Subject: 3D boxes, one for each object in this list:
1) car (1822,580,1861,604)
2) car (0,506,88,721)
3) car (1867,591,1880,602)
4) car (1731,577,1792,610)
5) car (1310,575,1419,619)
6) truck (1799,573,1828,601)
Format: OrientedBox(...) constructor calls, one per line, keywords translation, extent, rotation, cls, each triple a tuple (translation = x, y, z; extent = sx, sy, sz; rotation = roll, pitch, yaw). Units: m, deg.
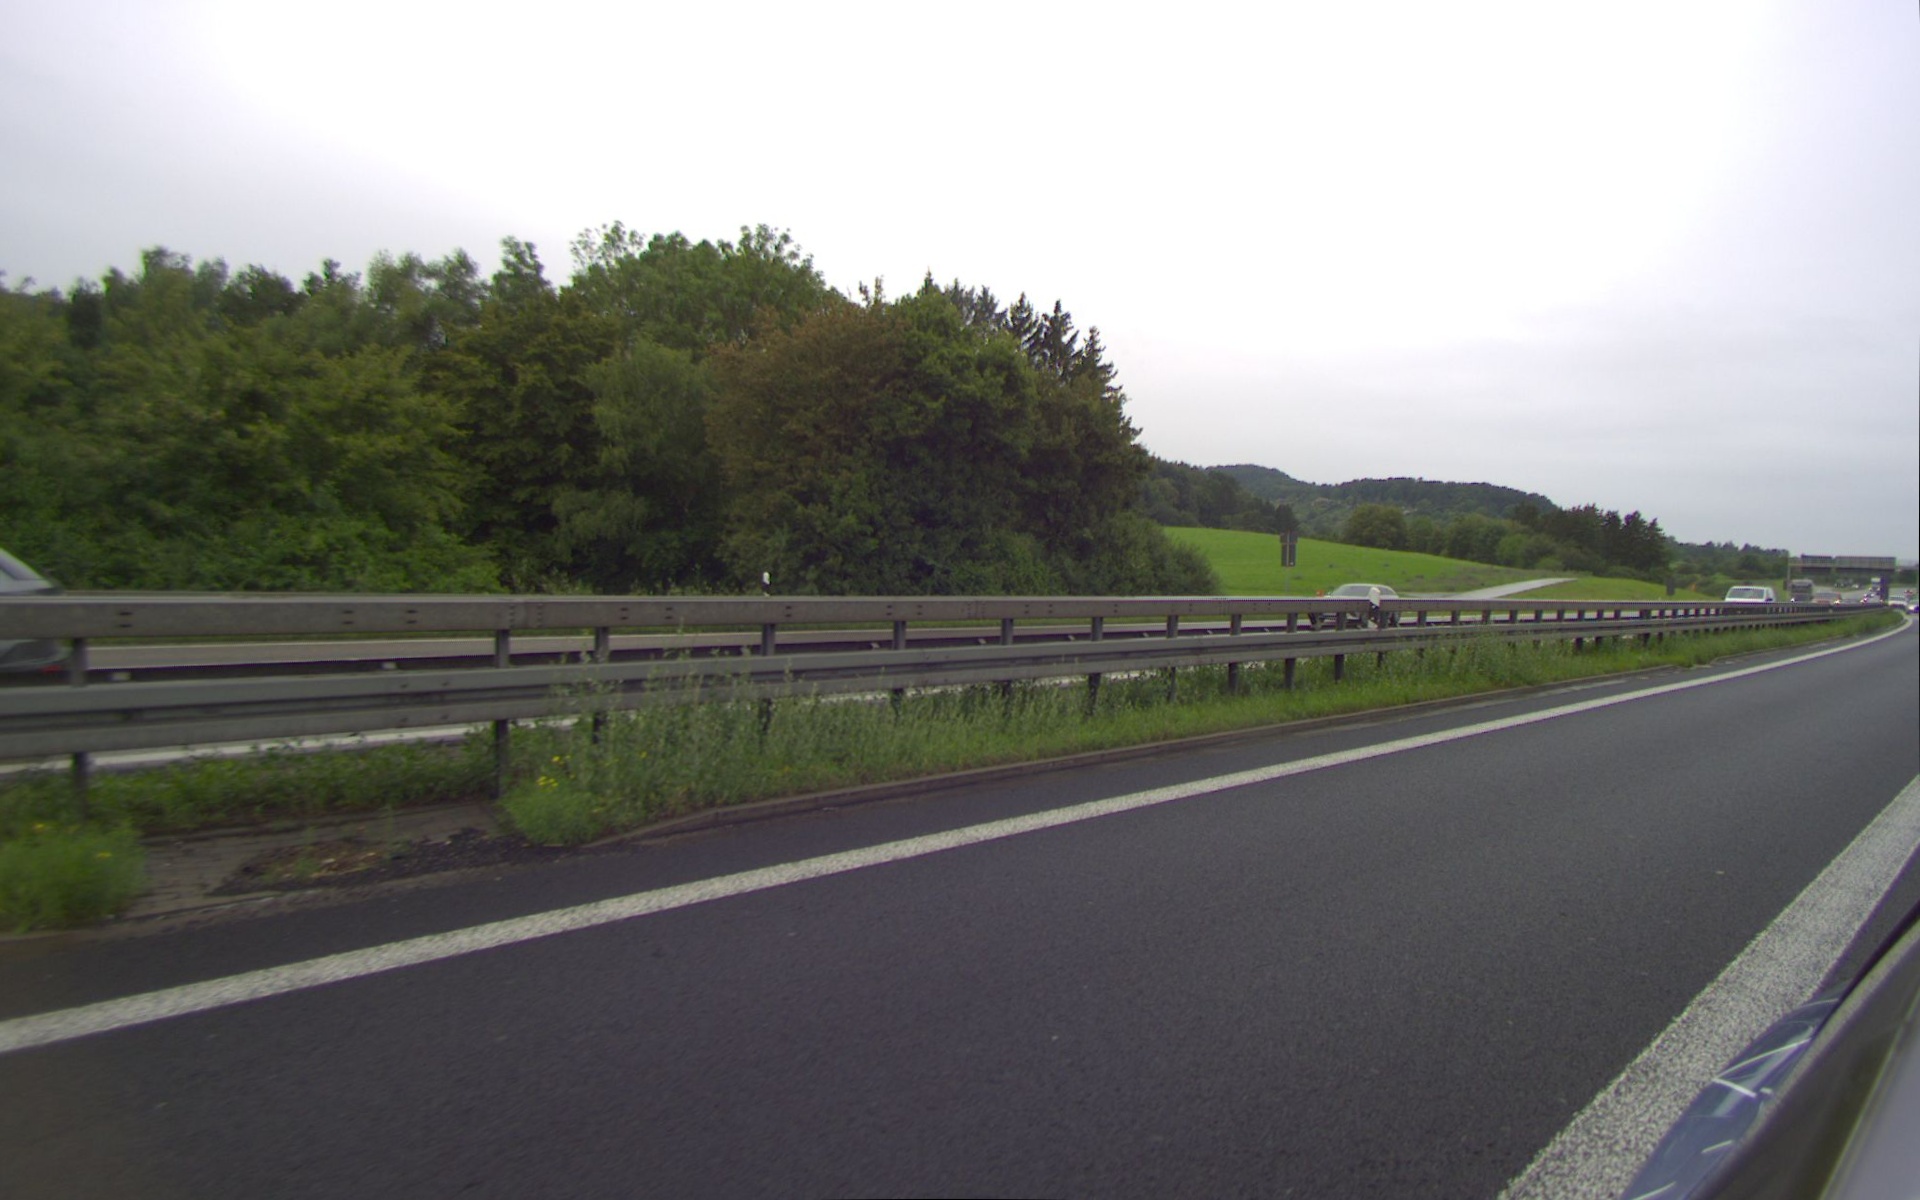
OrientedBox(translation=(77.089, -0.744, 88.491), extent=(4.993, 2.039, 2.126), rotation=(-1, 1, -44), cls="car")
OrientedBox(translation=(-7.959, 0.051, 6.126), extent=(4.055, 1.399, 1.670), rotation=(0, 3, -42), cls="car")
OrientedBox(translation=(171.890, -0.746, 190.389), extent=(1.747, 2.039, 4.429), rotation=(1, 1, 43), cls="car")
OrientedBox(translation=(42.686, -0.366, 53.846), extent=(4.640, 1.714, 1.911), rotation=(-1, 1, -44), cls="car")
OrientedBox(translation=(14.762, -0.134, 36.819), extent=(4.630, 1.473, 1.901), rotation=(-1, 1, -43), cls="car")
OrientedBox(translation=(126.082, -1.978, 149.461), extent=(2.791, 3.949, 9.872), rotation=(1, 1, 43), cls="truck")
